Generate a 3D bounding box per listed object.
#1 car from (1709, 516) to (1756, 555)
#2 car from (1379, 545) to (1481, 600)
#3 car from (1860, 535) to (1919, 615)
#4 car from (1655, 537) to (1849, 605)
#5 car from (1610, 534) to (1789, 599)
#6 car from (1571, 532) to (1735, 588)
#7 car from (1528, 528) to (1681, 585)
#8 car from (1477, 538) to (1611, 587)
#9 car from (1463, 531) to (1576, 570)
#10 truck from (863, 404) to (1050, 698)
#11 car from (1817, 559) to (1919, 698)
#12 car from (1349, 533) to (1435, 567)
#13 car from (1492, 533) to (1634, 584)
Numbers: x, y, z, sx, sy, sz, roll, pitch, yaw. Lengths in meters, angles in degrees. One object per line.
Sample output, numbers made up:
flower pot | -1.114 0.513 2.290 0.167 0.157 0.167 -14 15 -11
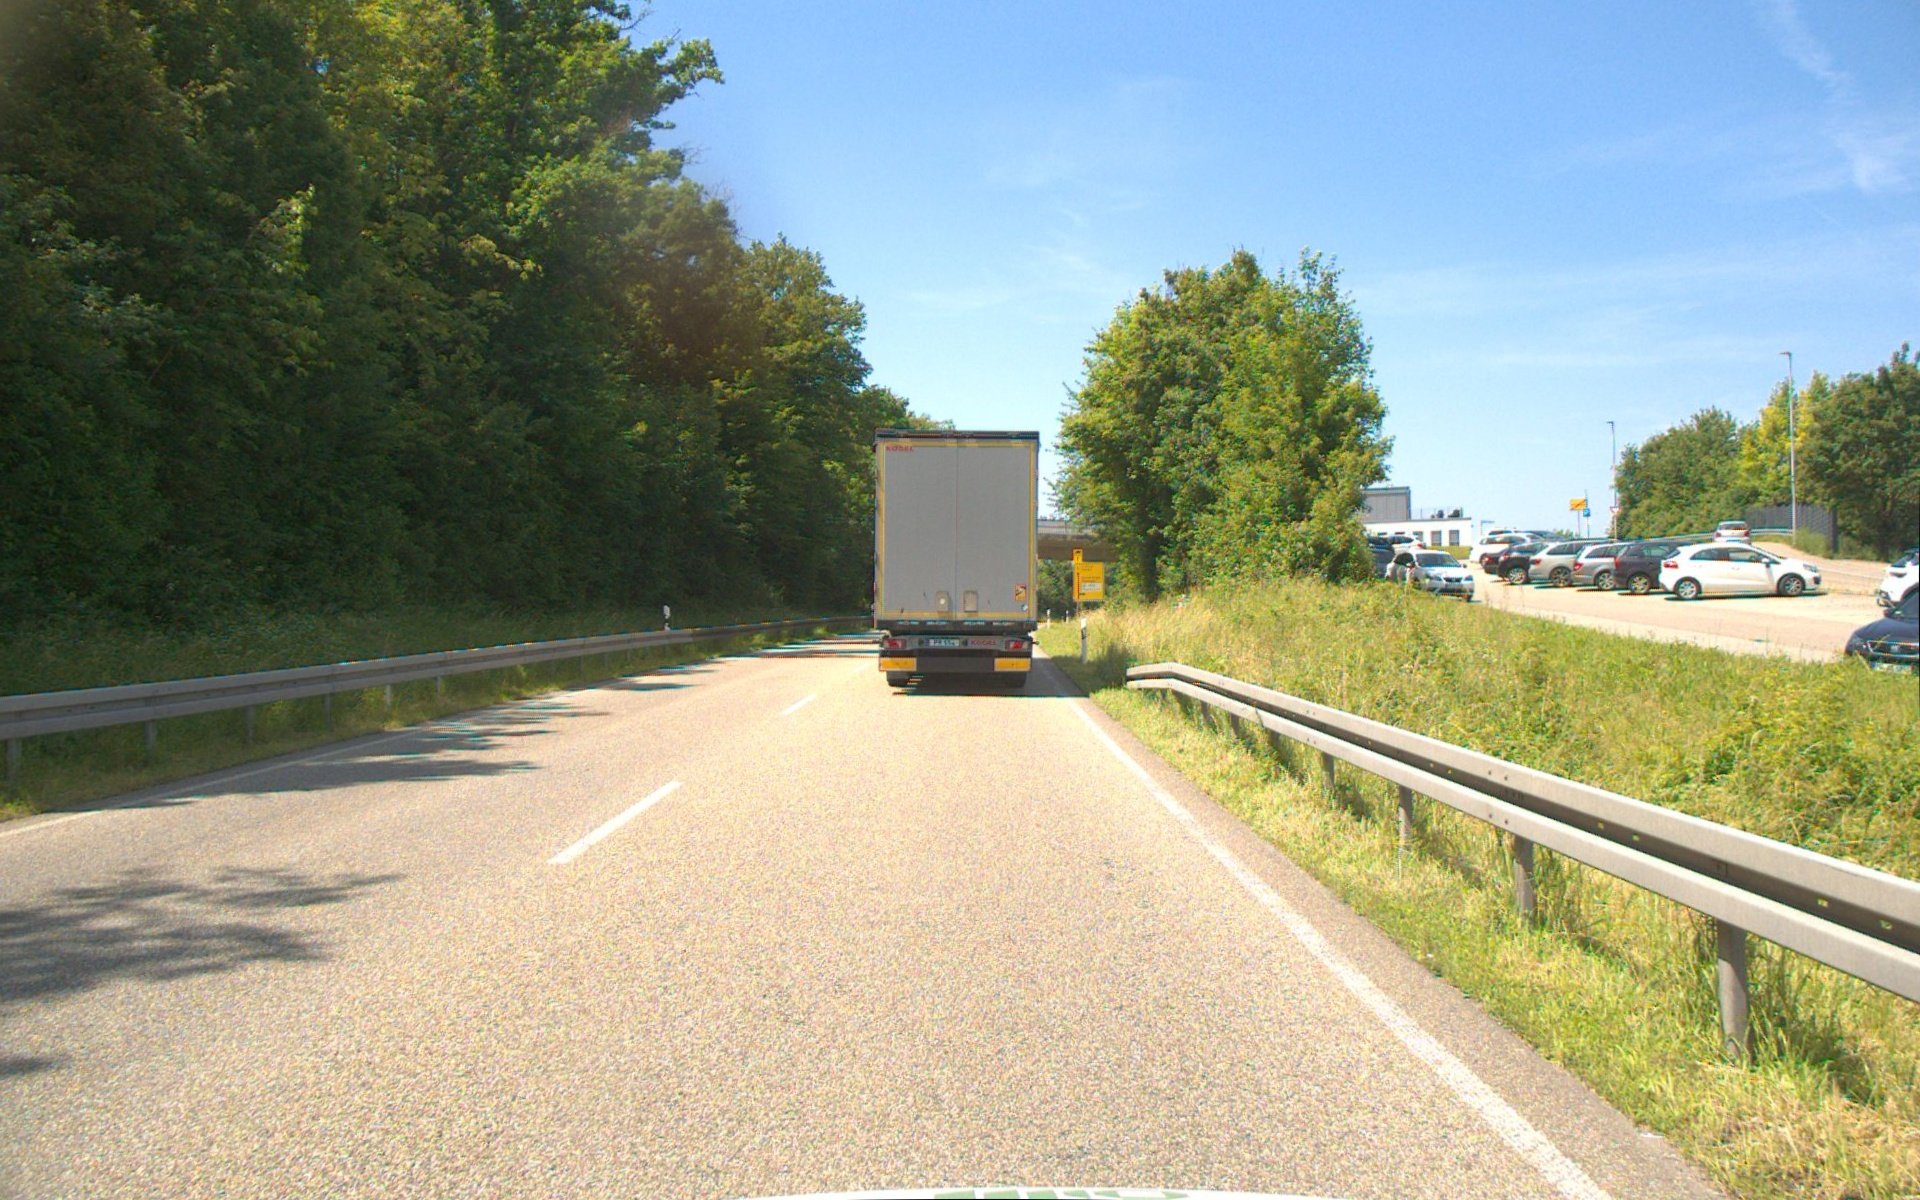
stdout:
car | 37.443 -3.107 80.161 1.772 1.691 3.993 1 0 29
car | 13.822 -0.837 48.861 1.593 1.376 3.707 4 2 -5
car | 22.023 -0.393 35.526 4.483 1.656 1.819 5 2 25
car | 21.343 -0.803 44.758 4.477 1.657 1.821 2 1 19
car | 21.150 -0.974 47.500 4.477 1.657 1.821 3 2 19
car | 21.083 -1.228 50.497 4.476 1.657 1.821 0 1 19
car | 20.853 -1.435 53.696 4.477 1.657 1.821 3 2 19
car | 21.111 -1.349 59.899 4.476 1.657 1.821 2 0 19
car | 25.085 -2.218 74.183 4.490 1.657 1.815 2 0 33
truck | -0.133 -0.766 29.903 2.808 4.435 9.787 0 0 -1
car | 14.002 0.460 22.727 4.317 1.714 1.870 3 2 -31
car | 22.649 -2.638 86.707 4.317 1.714 1.870 -1 5 -30
car | 20.591 -1.412 56.635 4.476 1.657 1.821 1 -1 19
